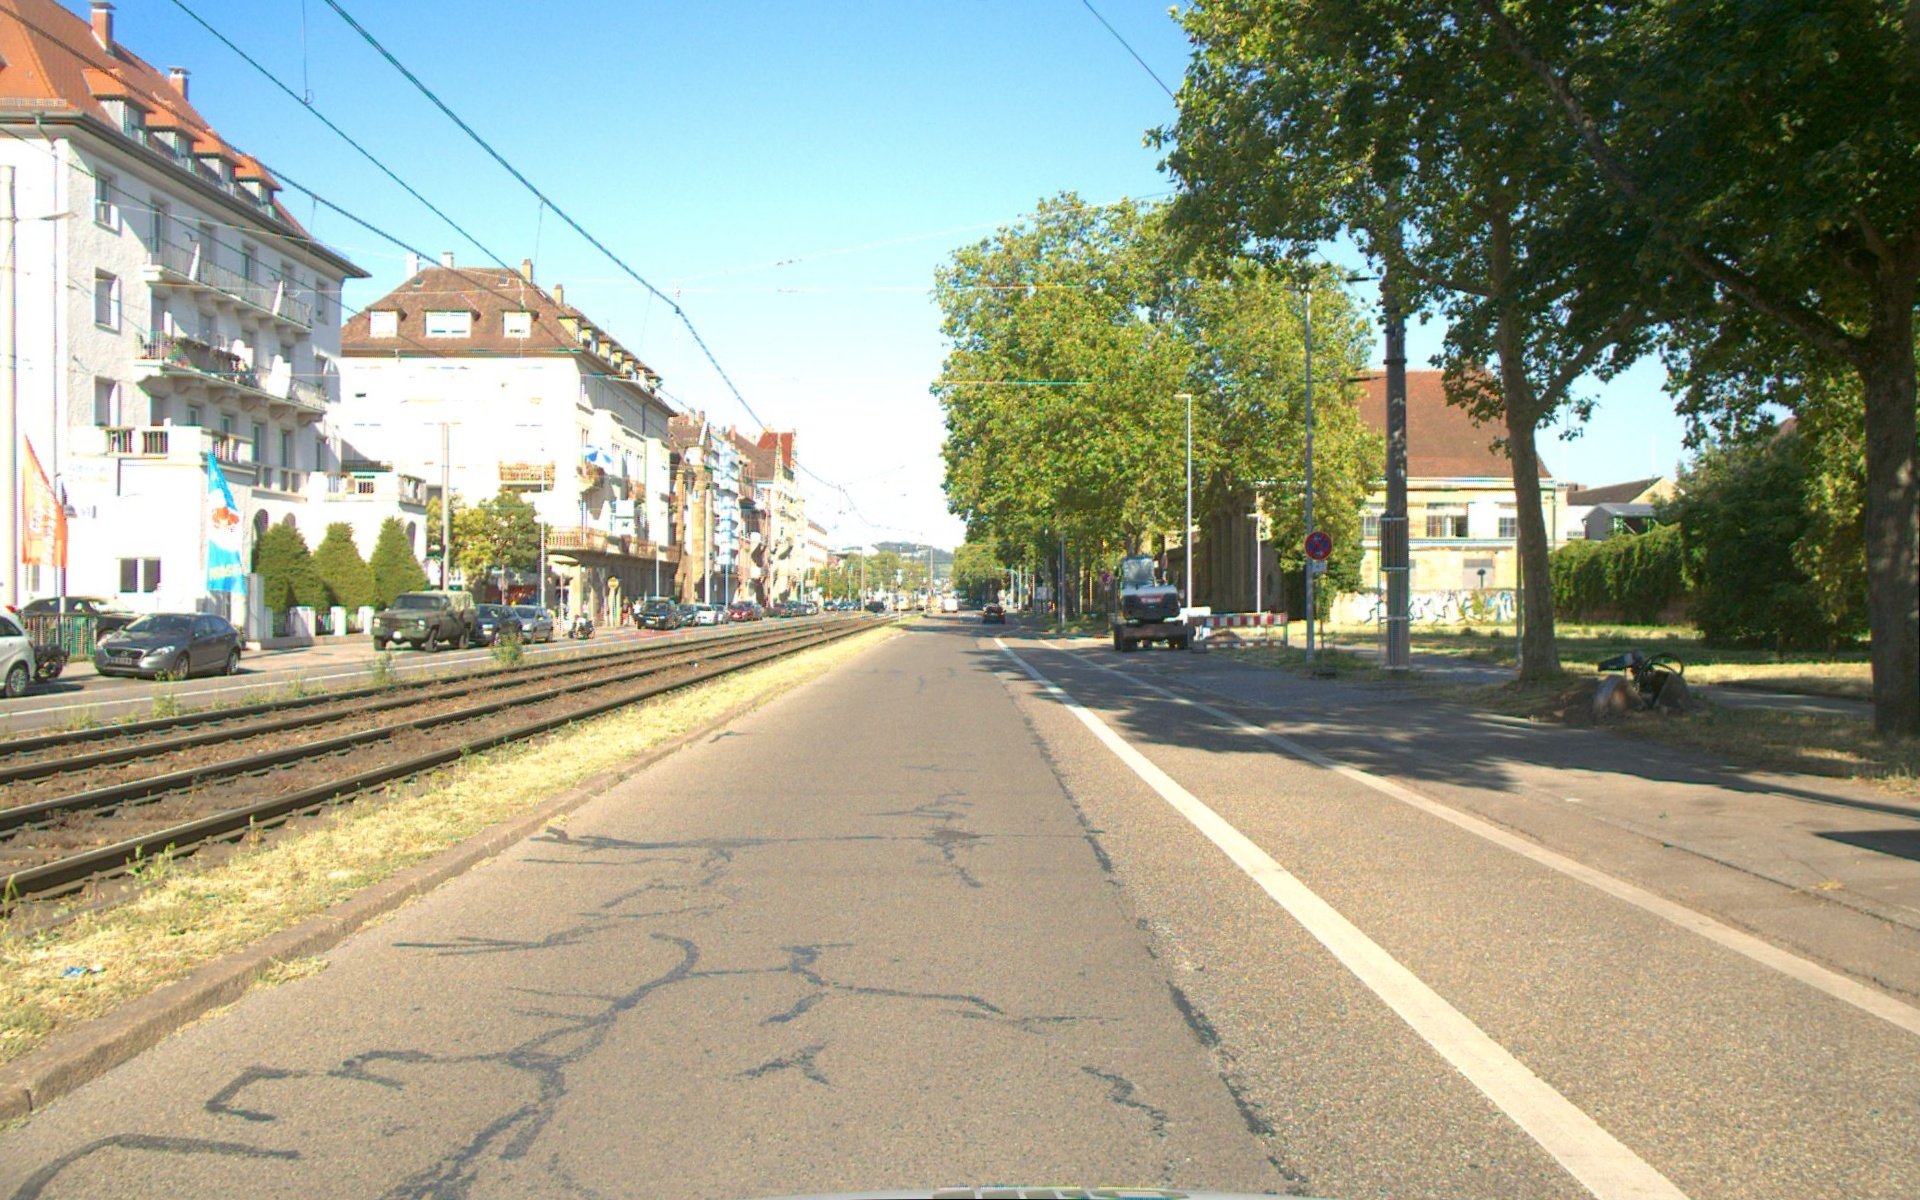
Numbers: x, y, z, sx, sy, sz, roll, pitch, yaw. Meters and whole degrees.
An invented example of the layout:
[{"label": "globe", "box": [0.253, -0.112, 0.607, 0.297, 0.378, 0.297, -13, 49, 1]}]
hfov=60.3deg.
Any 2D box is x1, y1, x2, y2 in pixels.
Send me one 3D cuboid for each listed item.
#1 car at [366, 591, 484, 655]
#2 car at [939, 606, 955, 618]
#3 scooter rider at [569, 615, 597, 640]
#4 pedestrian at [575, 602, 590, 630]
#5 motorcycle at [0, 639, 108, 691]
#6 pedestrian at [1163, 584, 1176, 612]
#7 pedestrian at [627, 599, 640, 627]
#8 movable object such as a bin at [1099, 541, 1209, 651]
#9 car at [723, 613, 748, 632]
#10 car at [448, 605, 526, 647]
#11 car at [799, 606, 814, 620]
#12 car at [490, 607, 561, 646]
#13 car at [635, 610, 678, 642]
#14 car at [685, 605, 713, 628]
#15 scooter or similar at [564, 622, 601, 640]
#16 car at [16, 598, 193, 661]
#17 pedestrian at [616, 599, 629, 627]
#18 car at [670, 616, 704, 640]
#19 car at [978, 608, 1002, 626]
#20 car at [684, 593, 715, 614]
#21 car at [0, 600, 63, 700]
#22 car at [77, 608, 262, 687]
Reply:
[{"label": "car", "box": [-18.275, 0.772, 56.800, 2.034, 2.045, 5.592, 2, 0, 2]}, {"label": "car", "box": [-1.778, 1.688, 232.550, 1.760, 1.537, 3.993, 2, -1, -8]}, {"label": "scooter rider", "box": [-17.245, 1.246, 75.678, 0.958, 1.108, 0.806, -1, 0, 31]}, {"label": "pedestrian", "box": [-22.653, 0.970, 99.265, 0.626, 1.690, 0.955, 2, -1, 2]}, {"label": "motorcycle", "box": [-18.144, 1.280, 32.981, 0.808, 0.971, 2.153, 1, -1, 14]}, {"label": "pedestrian", "box": [13.158, -0.101, 103.754, 0.596, 1.711, 0.636, -4, 0, -2]}, {"label": "pedestrian", "box": [-20.731, 0.844, 104.951, 0.577, 1.726, 0.857, 2, -1, 2]}, {"label": "movable object such as a bin", "box": [6.197, -0.136, 53.941, 2.688, 3.200, 7.219, -3, 0, 1]}, {"label": "car", "box": [-18.635, 1.866, 137.211, 1.798, 1.415, 4.031, 3, -1, -5]}, {"label": "car", "box": [-17.964, 0.995, 62.975, 1.601, 1.534, 4.159, 1, -1, 2]}, {"label": "car", "box": [-18.972, 1.598, 204.862, 1.759, 1.536, 3.996, 3, 0, -5]}, {"label": "car", "box": [-17.981, 1.095, 68.639, 1.757, 1.537, 4.000, 2, -1, 1]}, {"label": "car", "box": [-18.296, 1.561, 99.995, 1.825, 1.817, 4.400, 2, 0, -1]}, {"label": "car", "box": [-18.372, 1.136, 116.650, 1.603, 1.494, 3.980, 2, 1, -5]}, {"label": "scooter or similar", "box": [-17.279, 1.405, 75.695, 1.536, 0.784, 0.806, -1, 0, 31]}, {"label": "car", "box": [-24.018, 0.814, 46.502, 4.040, 1.662, 1.953, 0, 2, 9]}, {"label": "pedestrian", "box": [-21.414, 0.821, 104.850, 0.577, 1.726, 0.857, 2, -1, 2]}, {"label": "car", "box": [-18.265, 1.862, 110.871, 1.602, 1.494, 4.158, 3, 0, -1]}, {"label": "car", "box": [2.450, 1.340, 133.792, 1.796, 1.415, 4.158, 0, 0, -1]}, {"label": "car", "box": [-19.734, 0.258, 125.452, 1.601, 1.494, 4.159, 1, 0, 0]}, {"label": "car", "box": [-17.724, 0.856, 28.343, 1.881, 1.724, 4.843, 1, 0, 2]}, {"label": "car", "box": [-17.742, 1.020, 37.411, 1.882, 1.486, 4.840, 5, 0, -2]}]
